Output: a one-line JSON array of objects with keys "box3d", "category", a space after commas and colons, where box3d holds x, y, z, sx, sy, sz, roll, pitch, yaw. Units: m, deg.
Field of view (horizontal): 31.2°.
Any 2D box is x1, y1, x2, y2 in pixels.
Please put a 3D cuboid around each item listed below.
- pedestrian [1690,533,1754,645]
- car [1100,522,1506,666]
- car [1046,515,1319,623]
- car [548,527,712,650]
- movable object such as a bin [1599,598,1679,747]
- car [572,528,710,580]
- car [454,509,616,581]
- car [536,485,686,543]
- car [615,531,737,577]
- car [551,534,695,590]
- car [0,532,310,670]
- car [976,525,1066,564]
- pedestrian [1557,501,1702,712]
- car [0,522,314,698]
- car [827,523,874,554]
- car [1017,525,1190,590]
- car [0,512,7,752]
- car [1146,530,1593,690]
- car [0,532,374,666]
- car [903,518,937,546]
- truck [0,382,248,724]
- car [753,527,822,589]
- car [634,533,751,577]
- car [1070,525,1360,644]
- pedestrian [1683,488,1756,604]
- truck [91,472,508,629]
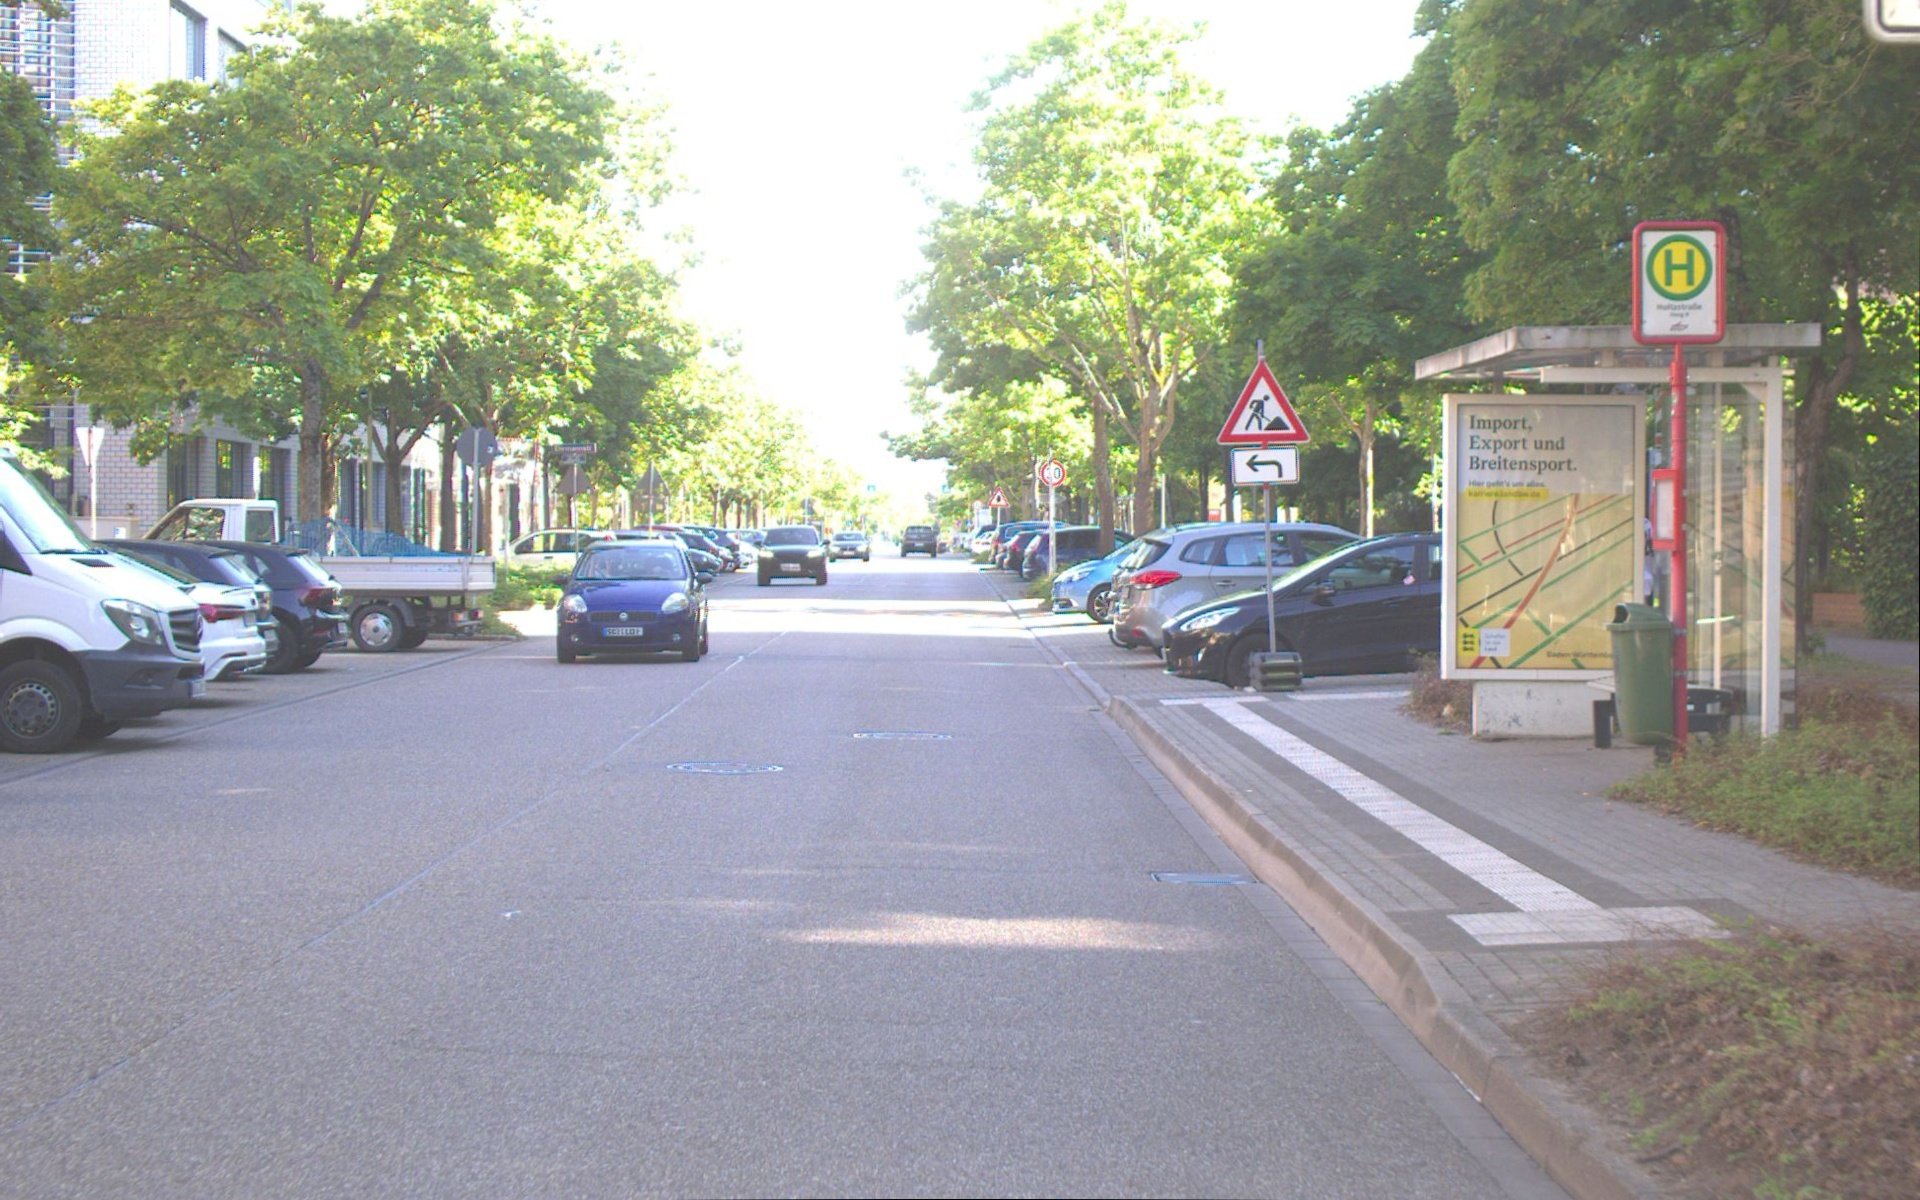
[{"box3d": [10.676, -0.157, 48.199, 0.756, 1.547, 0.559, 0, 1, -3], "category": "pedestrian"}, {"box3d": [3.922, -0.088, 39.744, 4.351, 1.592, 1.940, 0, 1, -6], "category": "car"}, {"box3d": [3.735, -0.533, 58.233, 4.405, 1.612, 1.912, -2, 1, -1], "category": "car"}, {"box3d": [-3.964, -0.170, 41.783, 1.643, 1.415, 4.000, 0, 1, -1], "category": "car"}, {"box3d": [3.527, 0.371, 17.872, 0.298, 0.751, 0.467, -2, 1, 0], "category": "movable object such as a bin"}, {"box3d": [-9.335, -1.354, 100.827, 3.892, 1.459, 1.858, 0, 1, -1], "category": "car"}, {"box3d": [-9.776, -1.252, 79.303, 3.580, 1.544, 1.637, 1, -2, -3], "category": "car"}, {"box3d": [-9.026, -2.217, 89.031, 3.732, 1.459, 1.677, 0, 1, -1], "category": "car"}, {"box3d": [-9.390, -1.529, 113.857, 3.892, 1.459, 1.858, 0, 1, -1], "category": "car"}, {"box3d": [-9.082, -1.026, 92.788, 3.732, 1.459, 1.677, 0, 1, -1], "category": "car"}, {"box3d": [-9.060, -0.005, 36.501, 3.987, 1.430, 1.722, 0, 1, 0], "category": "car"}, {"box3d": [2.818, -2.571, 159.817, 3.986, 1.786, 2.000, 0, 1, -5], "category": "car"}, {"box3d": [5.627, 0.044, 28.930, 0.917, 1.705, 0.698, -3, 2, -13], "category": "pedestrian"}, {"box3d": [-8.324, 0.041, 31.280, 4.540, 1.437, 1.890, 2, 2, -2], "category": "car"}, {"box3d": [-5.072, -2.884, 159.947, 1.813, 1.410, 4.107, 1, 1, 3], "category": "car"}, {"box3d": [3.668, -1.098, 88.382, 4.267, 1.628, 1.858, -1, 1, -3], "category": "car"}, {"box3d": [-8.617, 0.166, 22.666, 4.107, 1.656, 2.000, 2, 1, -2], "category": "car"}, {"box3d": [3.810, 0.076, 32.445, 3.934, 1.434, 1.775, 0, 1, -2], "category": "car"}, {"box3d": [-8.795, -0.032, 38.816, 3.987, 1.430, 1.789, 1, 1, 4], "category": "car"}, {"box3d": [-2.271, -3.895, 196.093, 1.933, 1.592, 4.366, 0, 1, -1], "category": "car"}, {"box3d": [-8.633, -0.380, 25.501, 6.232, 2.413, 2.187, 1, 1, 0], "category": "truck"}, {"box3d": [-4.824, -1.198, 96.567, 1.891, 1.678, 4.353, 0, 1, -2], "category": "car"}, {"box3d": [-9.152, -1.536, 117.878, 3.892, 1.459, 1.858, 0, 1, -1], "category": "car"}, {"box3d": [3.530, -0.232, 48.066, 3.846, 1.478, 1.825, -2, 2, -1], "category": "car"}, {"box3d": [11.459, -0.817, 51.901, 0.695, 1.705, 0.921, -3, 2, -11], "category": "pedestrian"}, {"box3d": [-8.547, -0.656, 44.770, 4.985, 1.952, 2.138, 1, 1, 2], "category": "truck"}]
